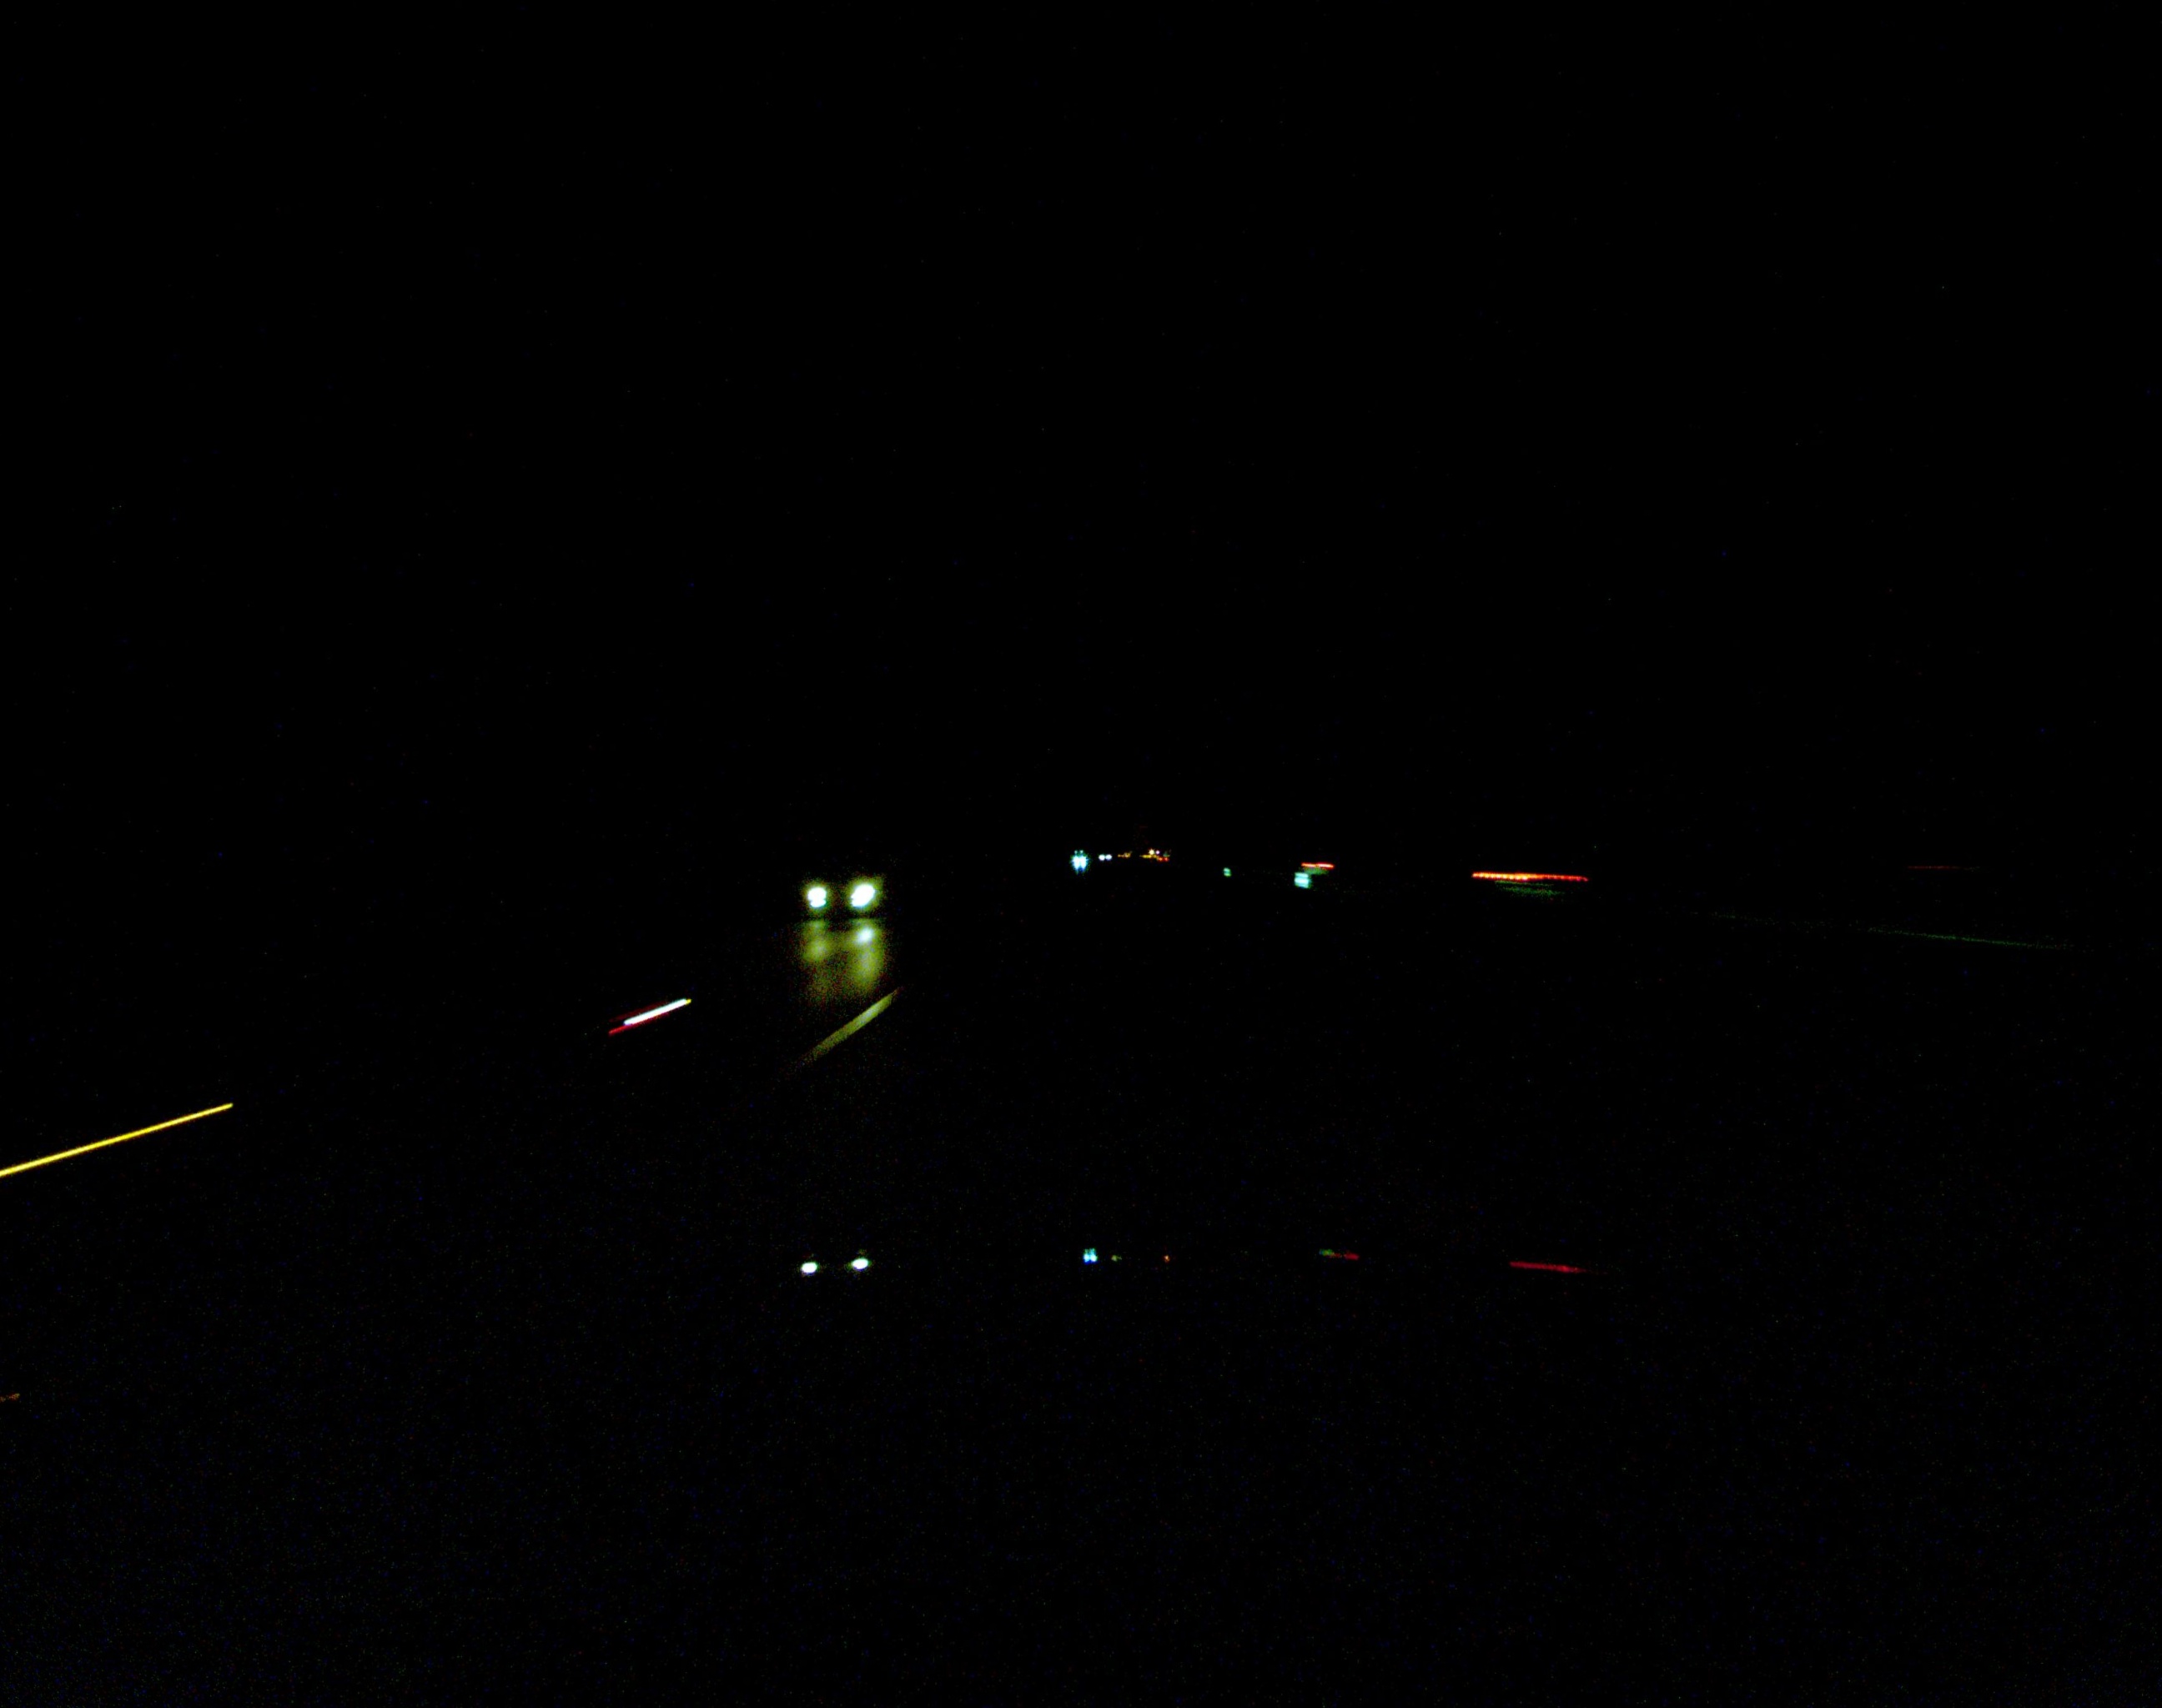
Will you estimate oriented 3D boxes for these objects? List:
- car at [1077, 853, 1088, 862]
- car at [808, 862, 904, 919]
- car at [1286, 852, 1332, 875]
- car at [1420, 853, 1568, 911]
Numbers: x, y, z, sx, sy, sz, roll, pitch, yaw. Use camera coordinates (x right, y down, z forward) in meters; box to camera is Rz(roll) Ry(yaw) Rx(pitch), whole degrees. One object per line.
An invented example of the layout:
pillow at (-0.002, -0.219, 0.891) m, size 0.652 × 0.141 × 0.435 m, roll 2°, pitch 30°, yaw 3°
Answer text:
car at (0.381, 0.846, 172.205) m, size 2.267 × 1.842 × 5.403 m, roll -3°, pitch 0°, yaw 0°
car at (-6.838, 1.054, 23.568) m, size 1.826 × 1.458 × 4.246 m, roll -3°, pitch 0°, yaw -3°
car at (15.879, 0.643, 53.100) m, size 1.754 × 1.470 × 4.942 m, roll 0°, pitch 0°, yaw 1°
car at (11.690, 0.722, 21.942) m, size 1.754 × 1.470 × 4.763 m, roll 0°, pitch 0°, yaw 1°
